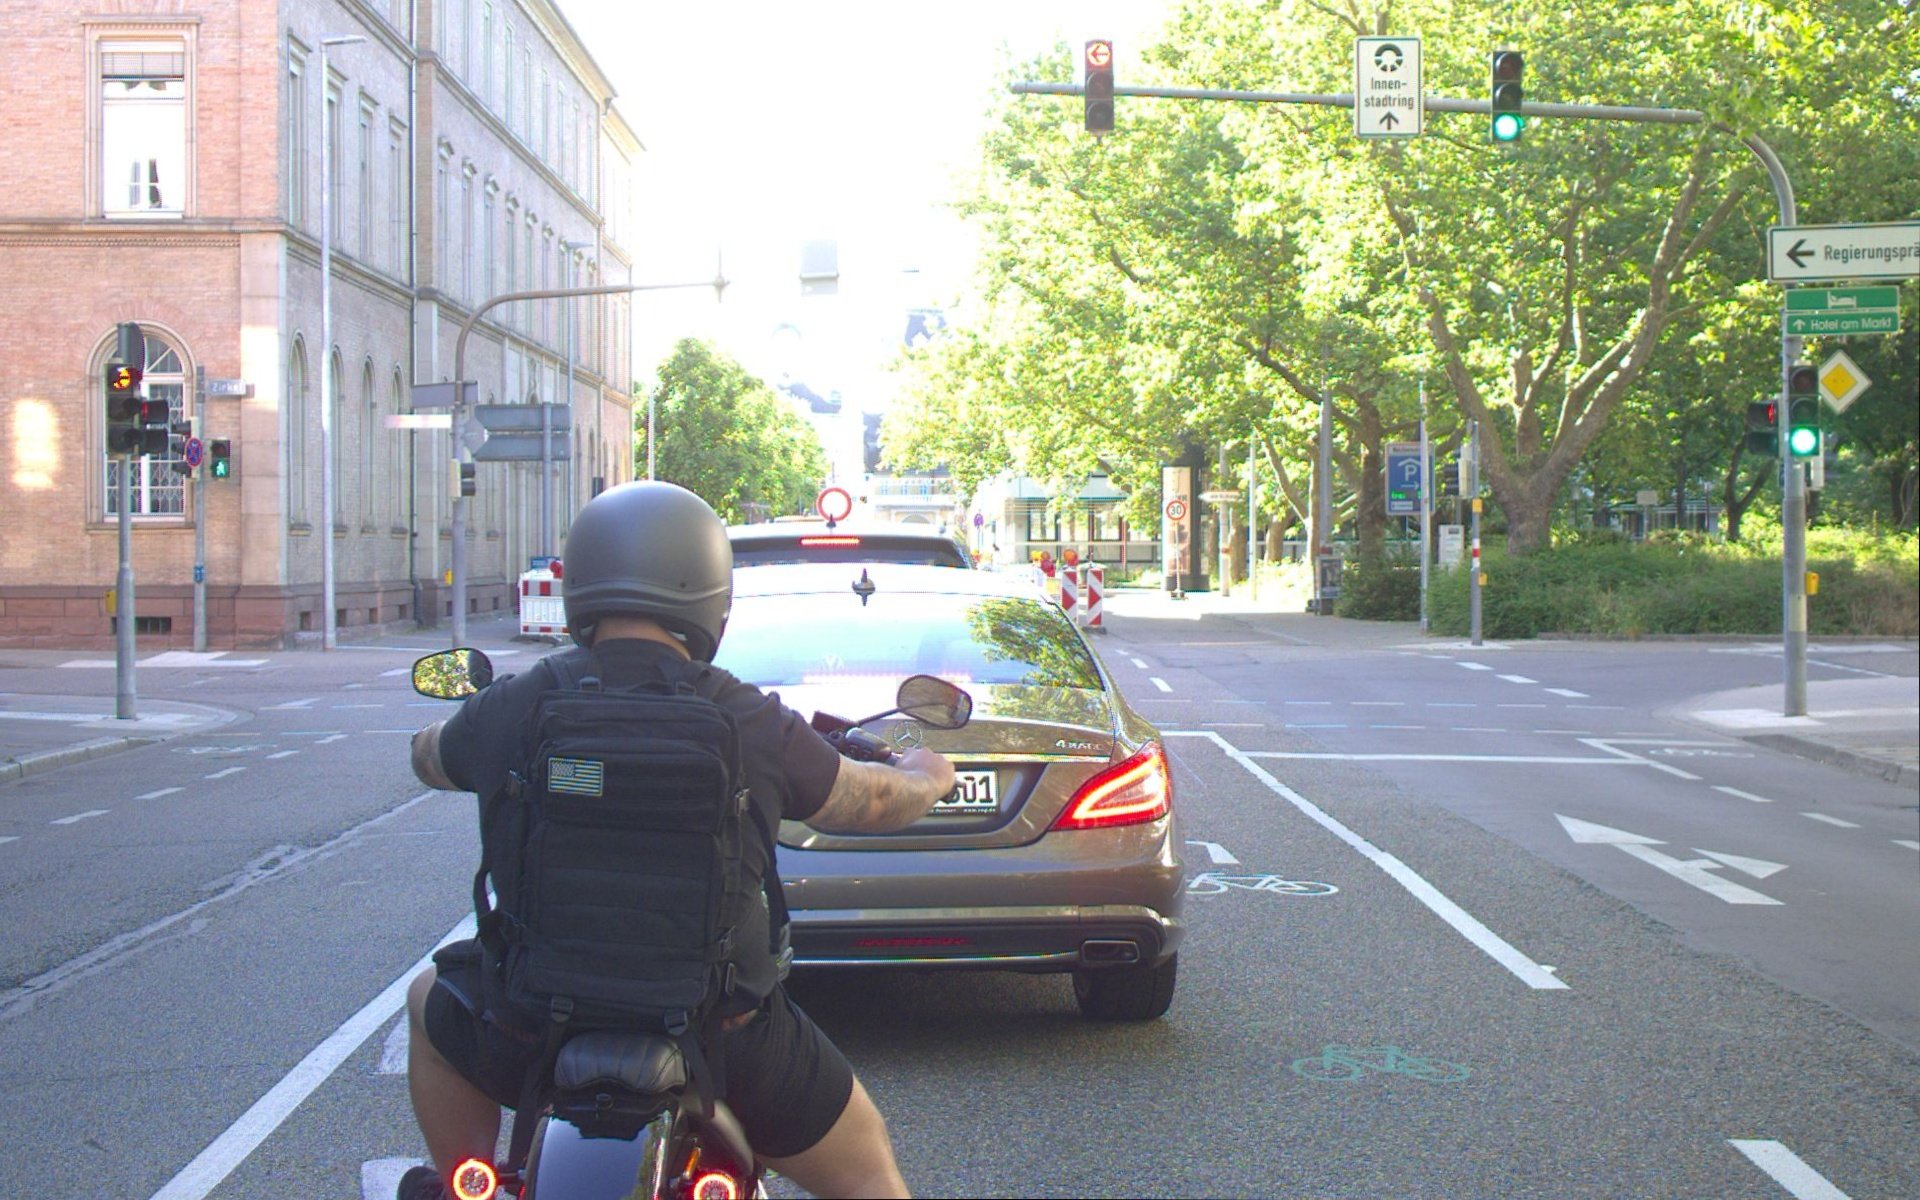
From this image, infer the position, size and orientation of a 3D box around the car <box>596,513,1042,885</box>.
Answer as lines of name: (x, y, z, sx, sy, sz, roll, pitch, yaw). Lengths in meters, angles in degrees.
car: (-0.660, 0.428, 17.552, 1.993, 1.660, 4.000, 1, 1, -1)

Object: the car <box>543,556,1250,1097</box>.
car: (-0.426, 0.586, 11.630, 1.869, 1.439, 4.431, 0, 1, -8)

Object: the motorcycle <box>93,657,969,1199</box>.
motorcycle: (-0.494, 0.762, 5.068, 0.980, 1.271, 2.407, 0, 1, -1)

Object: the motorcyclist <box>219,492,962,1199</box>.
motorcyclist: (-0.495, 0.632, 5.181, 0.980, 1.573, 1.248, 0, 1, -1)
